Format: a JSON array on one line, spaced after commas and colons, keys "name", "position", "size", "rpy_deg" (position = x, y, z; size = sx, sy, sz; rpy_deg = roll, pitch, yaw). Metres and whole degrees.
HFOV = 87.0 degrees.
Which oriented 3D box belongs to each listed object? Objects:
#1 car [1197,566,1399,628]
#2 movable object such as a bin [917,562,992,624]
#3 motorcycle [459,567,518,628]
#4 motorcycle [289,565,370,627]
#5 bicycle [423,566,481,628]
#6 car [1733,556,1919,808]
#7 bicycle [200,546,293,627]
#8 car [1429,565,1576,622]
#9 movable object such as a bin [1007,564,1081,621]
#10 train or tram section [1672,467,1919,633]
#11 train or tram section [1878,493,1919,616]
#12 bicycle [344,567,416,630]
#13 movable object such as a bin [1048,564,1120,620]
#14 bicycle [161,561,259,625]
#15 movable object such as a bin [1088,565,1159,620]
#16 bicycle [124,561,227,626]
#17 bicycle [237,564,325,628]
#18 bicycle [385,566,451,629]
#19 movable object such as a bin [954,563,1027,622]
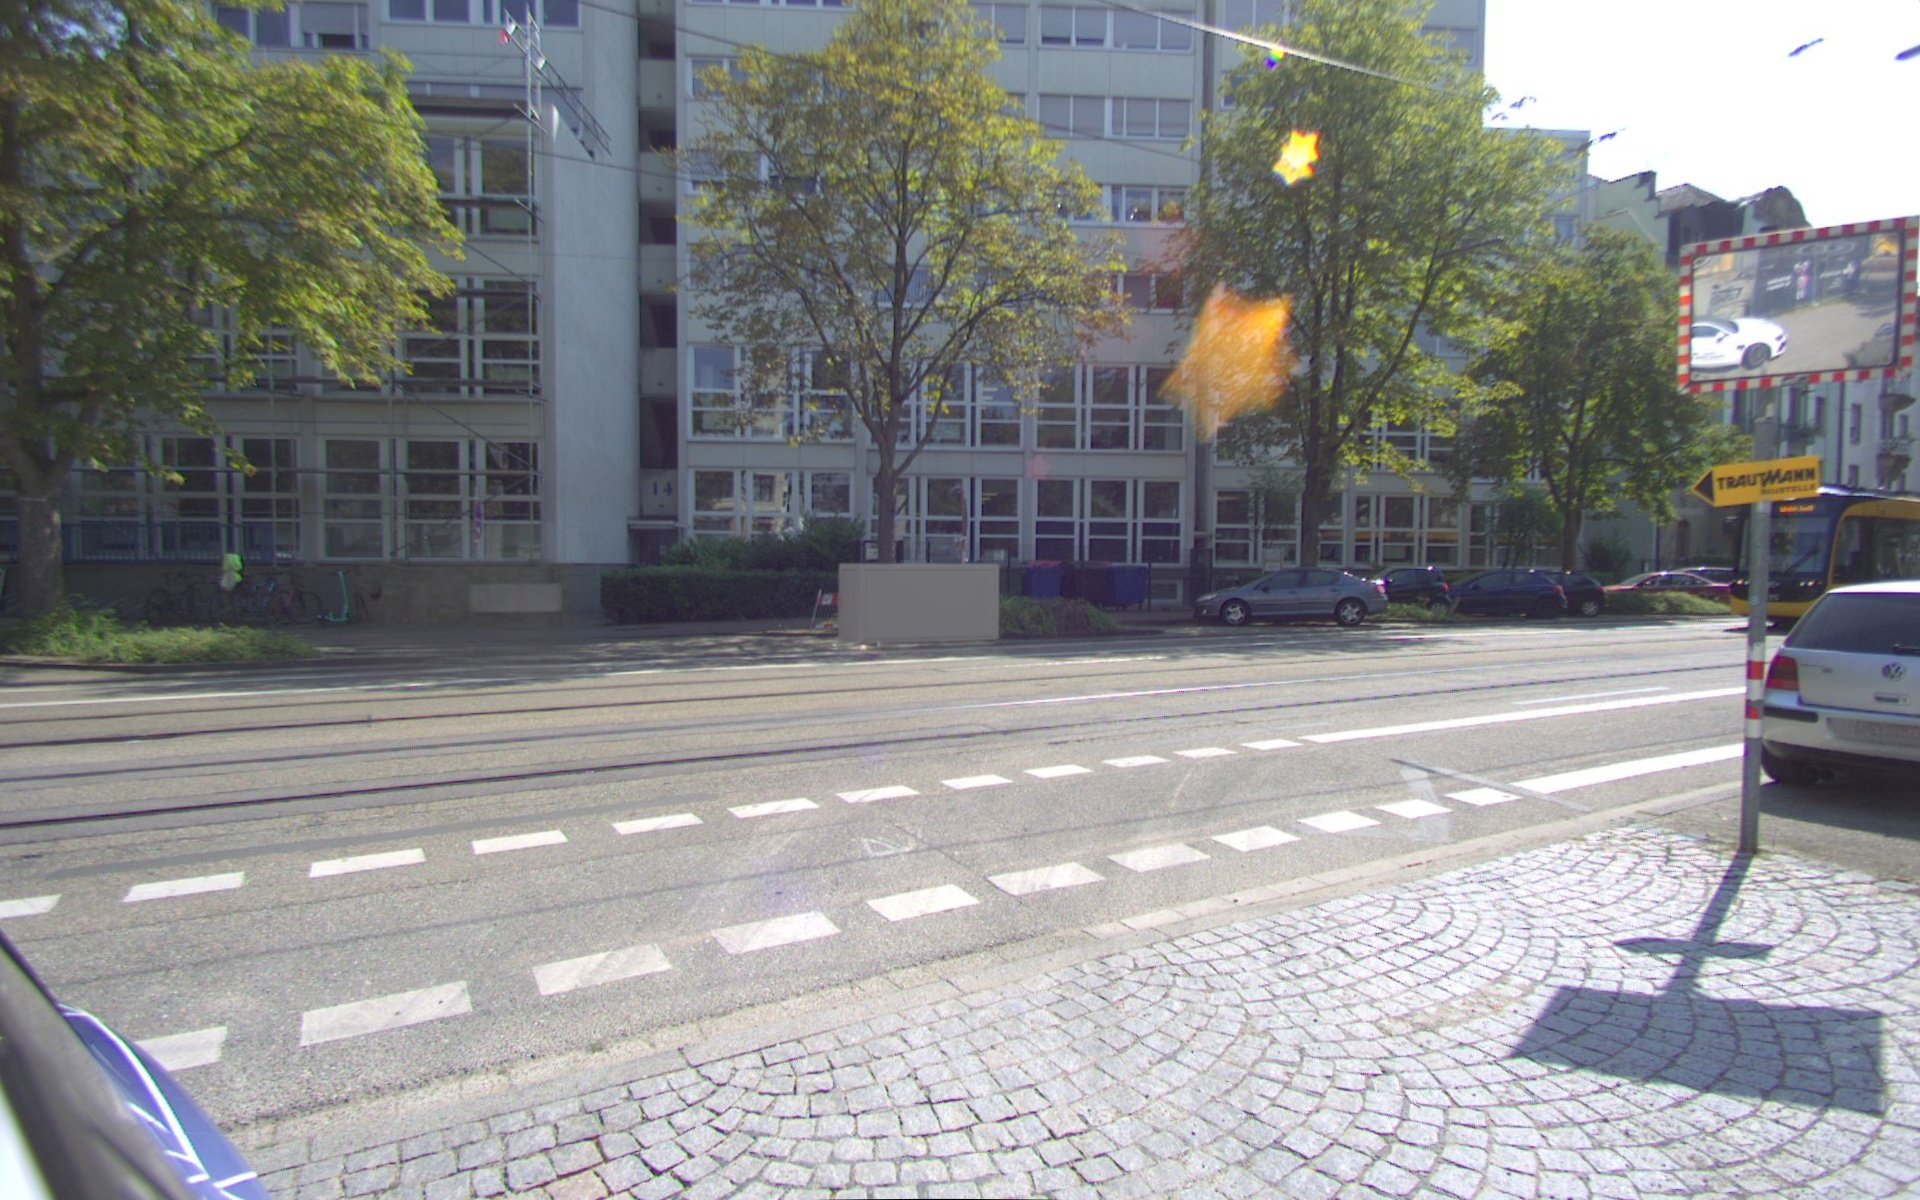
[{"name": "car", "position": [8.307, -0.072, 25.295], "size": [4.643, 1.462, 1.669], "rpy_deg": [0, 1, 14]}, {"name": "movable object such as a bin", "position": [-0.166, -0.204, 26.888], "size": [1.331, 1.571, 1.693], "rpy_deg": [0, 1, -31]}, {"name": "motorcycle", "position": [-10.031, -0.075, 21.575], "size": [0.684, 1.191, 1.850], "rpy_deg": [1, 3, -10]}, {"name": "motorcycle", "position": [-13.035, -0.108, 20.997], "size": [0.732, 1.163, 2.011], "rpy_deg": [1, 3, -10]}, {"name": "bicycle", "position": [-10.681, -0.095, 21.349], "size": [0.553, 1.177, 2.353], "rpy_deg": [1, 3, -13]}, {"name": "car", "position": [7.152, 0.463, 6.729], "size": [3.668, 1.457, 1.803], "rpy_deg": [0, 1, -27]}, {"name": "bicycle", "position": [-14.436, -0.324, 20.560], "size": [0.592, 1.536, 2.352], "rpy_deg": [1, 3, -10]}, {"name": "car", "position": [16.028, -0.227, 30.097], "size": [3.559, 1.586, 1.666], "rpy_deg": [2, 2, 19]}, {"name": "movable object such as a bin", "position": [2.362, -0.226, 28.571], "size": [1.331, 1.571, 1.693], "rpy_deg": [0, 1, -31]}, {"name": "train or tram section", "position": [24.391, -1.272, 27.231], "size": [12.198, 3.731, 3.520], "rpy_deg": [-1, 2, -29]}, {"name": "train or tram section", "position": [35.050, -1.447, 33.177], "size": [12.198, 3.731, 3.520], "rpy_deg": [-1, 2, -29]}, {"name": "bicycle", "position": [-11.996, -0.062, 21.013], "size": [0.612, 1.177, 2.352], "rpy_deg": [1, 3, -12]}, {"name": "movable object such as a bin", "position": [3.597, -0.241, 29.493], "size": [1.331, 1.571, 1.693], "rpy_deg": [0, 1, -31]}, {"name": "bicycle", "position": [-15.110, -0.171, 20.465], "size": [0.592, 1.168, 2.352], "rpy_deg": [1, 3, -10]}, {"name": "movable object such as a bin", "position": [4.864, -0.244, 30.201], "size": [1.331, 1.571, 1.693], "rpy_deg": [0, 1, -31]}, {"name": "bicycle", "position": [-15.719, -0.168, 20.357], "size": [0.592, 1.168, 2.352], "rpy_deg": [1, 3, -10]}, {"name": "bicycle", "position": [-13.816, -0.113, 20.674], "size": [0.592, 1.177, 2.352], "rpy_deg": [1, 3, -10]}, {"name": "bicycle", "position": [-11.298, -0.089, 21.183], "size": [0.612, 1.177, 2.353], "rpy_deg": [1, 3, -13]}, {"name": "movable object such as a bin", "position": [0.830, -0.212, 27.990], "size": [1.331, 1.571, 1.693], "rpy_deg": [0, 1, -31]}]
